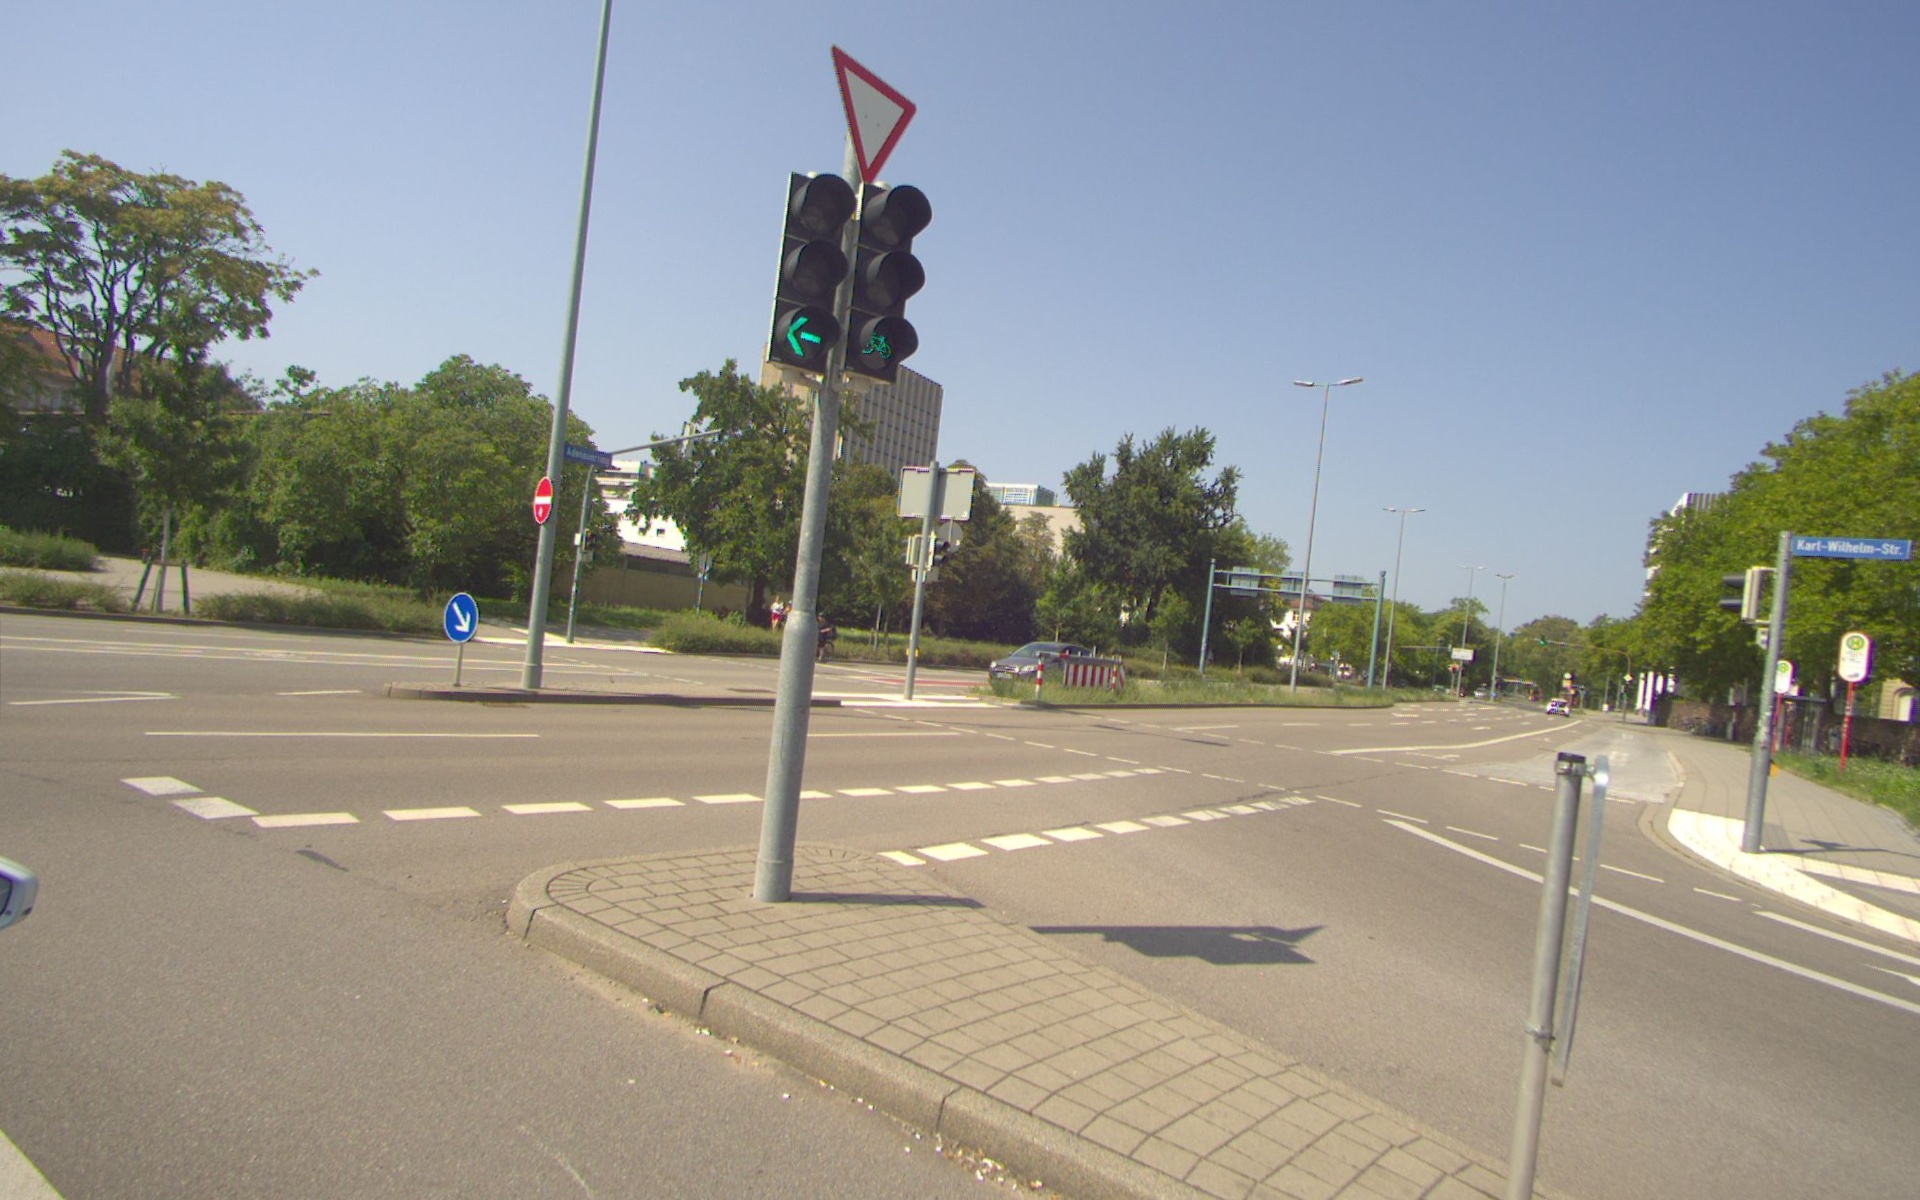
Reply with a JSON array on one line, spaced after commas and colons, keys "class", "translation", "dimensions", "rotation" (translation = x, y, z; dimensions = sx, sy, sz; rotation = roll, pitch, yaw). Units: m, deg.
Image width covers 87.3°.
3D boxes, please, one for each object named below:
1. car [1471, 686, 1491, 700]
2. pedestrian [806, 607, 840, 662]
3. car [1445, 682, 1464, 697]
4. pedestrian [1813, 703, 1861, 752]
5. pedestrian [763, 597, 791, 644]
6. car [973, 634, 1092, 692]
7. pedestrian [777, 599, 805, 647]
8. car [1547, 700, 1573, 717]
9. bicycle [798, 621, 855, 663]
[{"class": "car", "translation": [77.039, 13.734, 148.706], "dimensions": [1.969, 1.698, 3.989], "rotation": [6, -2, 35]}, {"class": "pedestrian", "translation": [-4.522, 1.138, 33.233], "dimensions": [0.768, 1.689, 0.547], "rotation": [6, 0, 36]}, {"class": "car", "translation": [74.300, 13.464, 151.163], "dimensions": [2.050, 1.940, 4.187], "rotation": [6, -1, 32]}, {"class": "pedestrian", "translation": [41.000, 5.938, 47.060], "dimensions": [1.052, 2.038, 1.235], "rotation": [7, 0, 13]}, {"class": "pedestrian", "translation": [-7.261, 0.811, 39.870], "dimensions": [0.683, 1.793, 0.585], "rotation": [6, 0, 36]}, {"class": "car", "translation": [2.093, 1.787, 28.207], "dimensions": [1.764, 1.373, 3.415], "rotation": [4, -2, 35]}, {"class": "pedestrian", "translation": [-6.650, 0.911, 39.501], "dimensions": [0.683, 1.793, 0.585], "rotation": [6, 0, 36]}, {"class": "car", "translation": [50.726, 9.160, 85.024], "dimensions": [1.566, 1.150, 3.254], "rotation": [7, -1, 35]}, {"class": "bicycle", "translation": [-4.419, 1.412, 33.413], "dimensions": [0.774, 1.227, 1.784], "rotation": [6, -1, 36]}]
